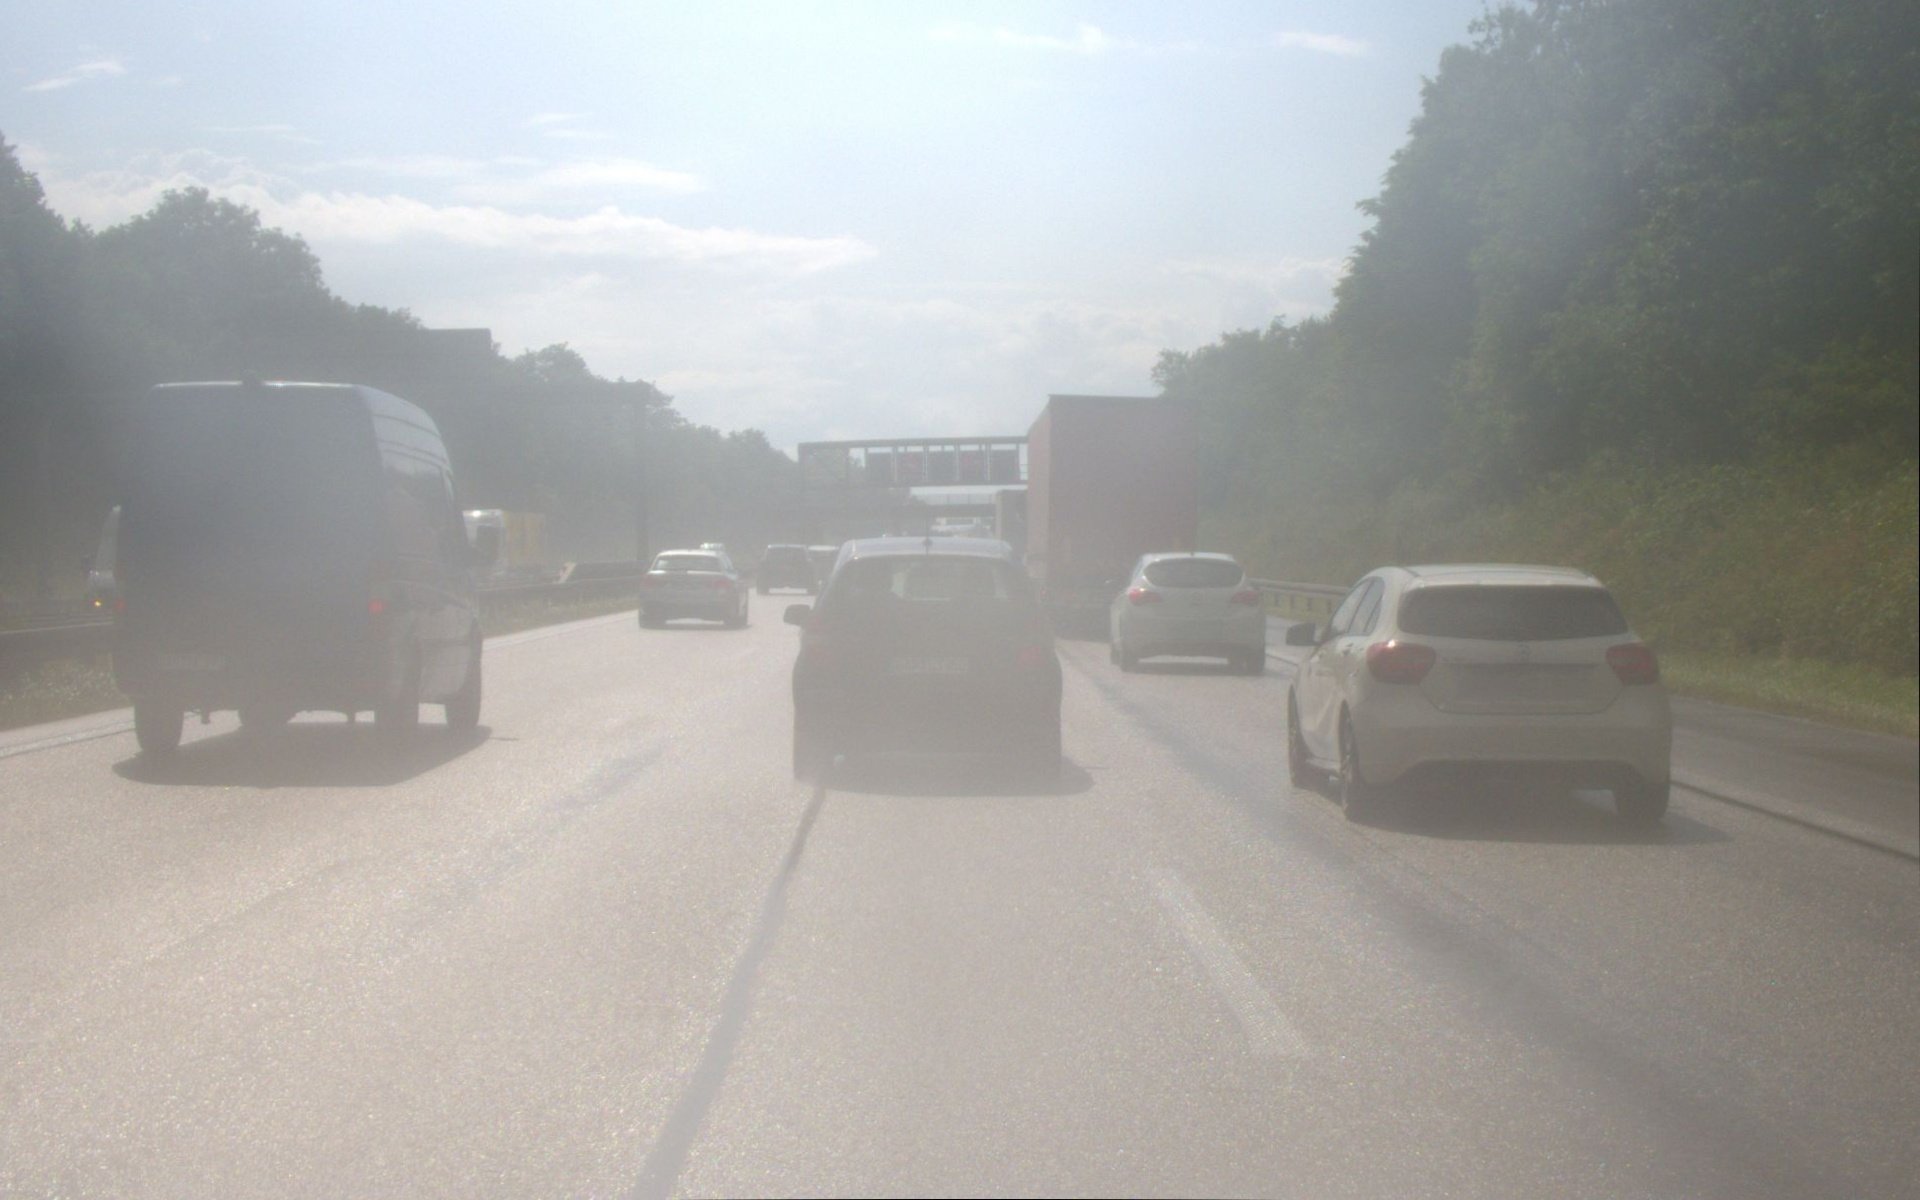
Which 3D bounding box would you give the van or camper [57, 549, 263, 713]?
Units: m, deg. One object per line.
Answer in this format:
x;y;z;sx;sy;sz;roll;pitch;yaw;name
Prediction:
-14.739;0.508;63.773;2.262;2.860;6.840;1;1;-1;van or camper

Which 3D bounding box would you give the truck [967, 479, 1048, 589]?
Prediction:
1.958;-2.772;146.582;3.256;4.464;12.421;1;1;0;truck

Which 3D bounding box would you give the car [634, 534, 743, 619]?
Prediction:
-5.107;-0.447;65.053;1.854;1.546;3.485;1;1;-2;car

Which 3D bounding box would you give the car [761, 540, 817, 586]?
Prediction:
-5.569;-1.215;112.175;1.751;1.452;3.390;1;1;-2;car

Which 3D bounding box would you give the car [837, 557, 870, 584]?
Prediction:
-5.073;-1.404;163.817;1.549;1.262;3.485;1;1;-2;car

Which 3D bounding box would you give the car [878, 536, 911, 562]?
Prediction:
-4.420;-3.437;232.456;1.993;1.695;4.000;0;1;2;car

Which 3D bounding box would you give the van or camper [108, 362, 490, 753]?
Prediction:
-4.897;-0.321;26.249;1.993;2.659;5.385;1;1;-2;van or camper

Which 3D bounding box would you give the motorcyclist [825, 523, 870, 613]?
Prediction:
-2.049;-0.581;62.856;0.801;1.627;1.013;1;0;-2;motorcyclist

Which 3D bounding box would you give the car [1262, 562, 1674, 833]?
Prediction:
2.889;0.497;20.404;1.692;1.420;4.220;1;1;-2;car

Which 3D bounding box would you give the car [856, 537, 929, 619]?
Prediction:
-1.491;-0.485;75.211;1.531;1.740;3.485;1;1;-2;car

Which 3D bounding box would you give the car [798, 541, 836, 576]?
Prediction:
-5.792;-1.679;139.480;1.460;1.389;3.312;1;1;-2;car

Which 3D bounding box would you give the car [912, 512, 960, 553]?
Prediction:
-0.842;-2.309;118.587;1.552;1.378;3.210;1;1;-2;car

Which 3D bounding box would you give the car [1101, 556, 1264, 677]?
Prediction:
2.776;0.178;43.590;1.680;1.437;3.905;1;1;-2;car

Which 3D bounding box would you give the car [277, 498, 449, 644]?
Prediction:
-10.549;-0.526;61.124;2.183;2.444;5.748;1;1;-2;car

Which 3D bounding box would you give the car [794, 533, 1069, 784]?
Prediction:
-0.228;0.349;23.409;1.717;1.562;3.485;1;1;-2;car

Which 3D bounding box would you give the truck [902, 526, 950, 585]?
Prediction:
-1.686;-2.176;168.334;2.192;2.865;4.850;1;1;-2;truck

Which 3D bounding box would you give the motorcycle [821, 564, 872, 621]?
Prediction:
-2.072;-0.145;62.904;0.890;0.997;2.896;1;1;-2;motorcycle

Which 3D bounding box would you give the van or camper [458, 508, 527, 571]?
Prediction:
-22.507;-2.894;165.700;2.500;2.911;7.139;1;1;-2;van or camper

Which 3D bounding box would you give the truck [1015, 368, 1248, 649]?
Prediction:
3.036;-1.639;66.605;3.650;4.704;16.779;1;1;0;truck
